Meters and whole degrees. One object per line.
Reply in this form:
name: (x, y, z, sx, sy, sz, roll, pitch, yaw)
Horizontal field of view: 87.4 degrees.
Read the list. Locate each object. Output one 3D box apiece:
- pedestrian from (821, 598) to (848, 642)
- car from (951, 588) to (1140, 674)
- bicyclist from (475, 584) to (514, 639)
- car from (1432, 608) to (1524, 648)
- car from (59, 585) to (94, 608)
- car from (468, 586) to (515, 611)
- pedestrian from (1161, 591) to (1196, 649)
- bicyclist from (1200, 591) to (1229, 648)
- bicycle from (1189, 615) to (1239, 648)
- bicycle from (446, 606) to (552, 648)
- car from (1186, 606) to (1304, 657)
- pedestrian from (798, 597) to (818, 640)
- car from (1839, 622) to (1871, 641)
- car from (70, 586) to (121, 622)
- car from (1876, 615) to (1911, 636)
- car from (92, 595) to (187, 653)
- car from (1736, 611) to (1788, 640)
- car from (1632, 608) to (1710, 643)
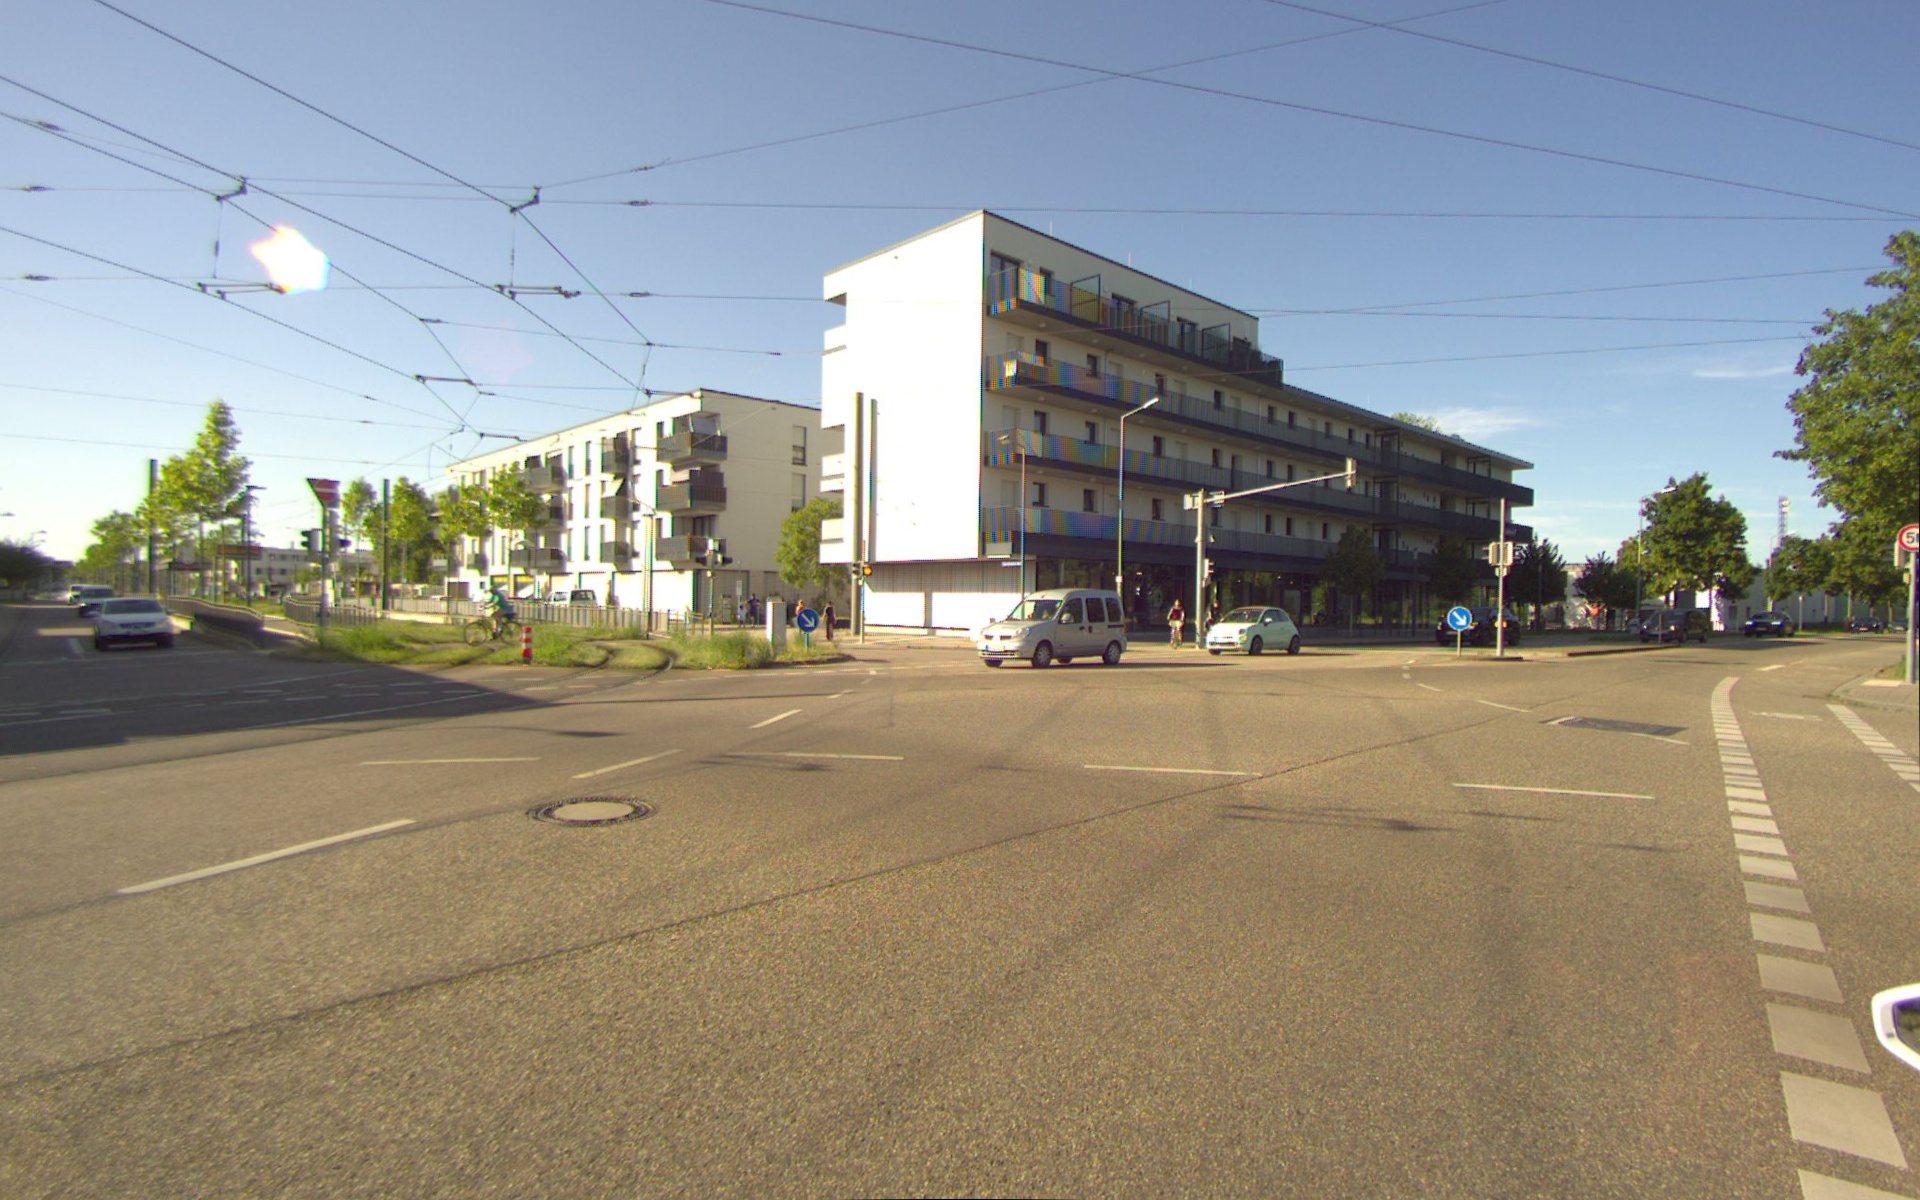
pedestrian: (-5.138, 0.817, 41.052, 0.937, 1.756, 0.644, 2, 1, -21)
car: (2.038, 0.664, 23.044, 4.333, 1.778, 1.974, 1, 0, -44)
bicyclist: (-14.052, 0.343, 30.332, 0.905, 1.613, 0.886, 1, 0, -36)
car: (21.617, 1.123, 41.839, 4.707, 1.555, 1.948, 1, 0, -43)
car: (-79.496, -0.333, 90.368, 3.944, 2.040, 1.988, 1, 0, 44)
car: (-34.015, -0.126, 72.902, 1.985, 1.574, 3.950, 1, 2, -42)
pedestrian: (7.915, 0.720, 36.377, 0.966, 2.040, 0.756, 1, 0, 43)
bicyclist: (9.338, 0.714, 36.830, 0.782, 2.040, 0.808, 1, 0, 37)
bicycle: (9.306, 1.142, 36.850, 1.616, 1.159, 0.742, 0, 0, 37)
bicycle: (-13.937, 0.808, 30.418, 2.798, 1.214, 0.894, 1, 0, -36)
car: (8.956, 0.967, 31.482, 3.517, 1.506, 1.976, 1, -2, -42)
pedestrian: (-6.276, 0.763, 41.485, 0.739, 1.709, 0.574, 2, 1, -12)
car: (77.140, 2.661, 86.562, 3.971, 1.555, 1.662, 1, 0, -43)
car: (-50.449, 0.211, 58.600, 1.987, 2.040, 3.947, 1, 0, -44)
car: (89.168, 2.434, 95.948, 3.967, 1.782, 1.879, 2, 2, -40)
car: (-25.915, 0.709, 31.683, 1.996, 1.687, 3.947, 1, 0, -44)
car: (52.664, 1.645, 65.941, 5.162, 1.760, 1.975, 1, 0, -43)
car: (34.109, 1.186, 48.150, 3.963, 1.592, 1.979, 1, 0, -37)
